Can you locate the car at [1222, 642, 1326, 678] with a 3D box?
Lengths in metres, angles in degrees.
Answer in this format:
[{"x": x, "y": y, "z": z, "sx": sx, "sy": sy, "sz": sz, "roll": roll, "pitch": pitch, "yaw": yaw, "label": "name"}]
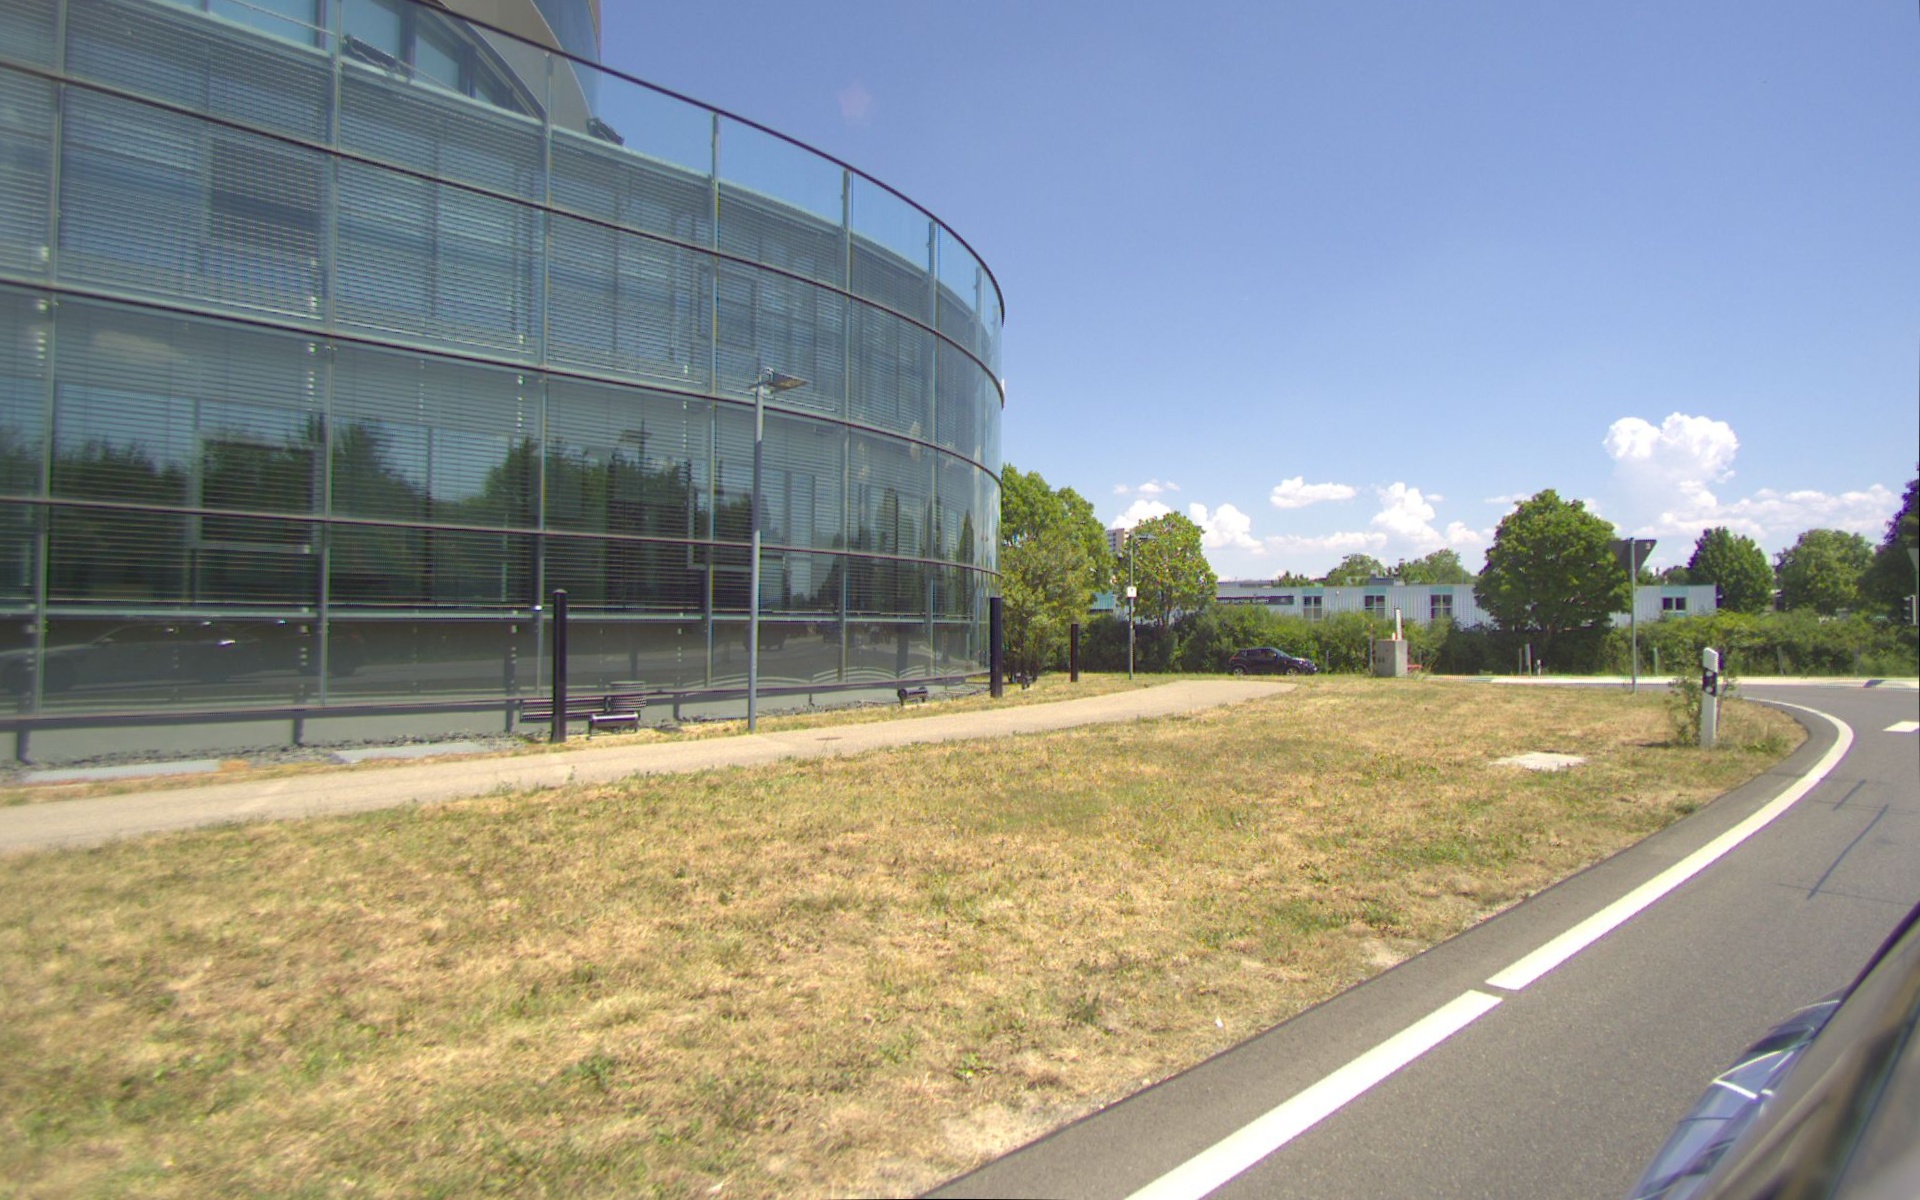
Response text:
[{"x": 14.744, "y": 2.773, "z": 47.556, "sx": 4.324, "sy": 1.620, "sz": 1.913, "roll": -1, "pitch": -3, "yaw": 35, "label": "car"}]
